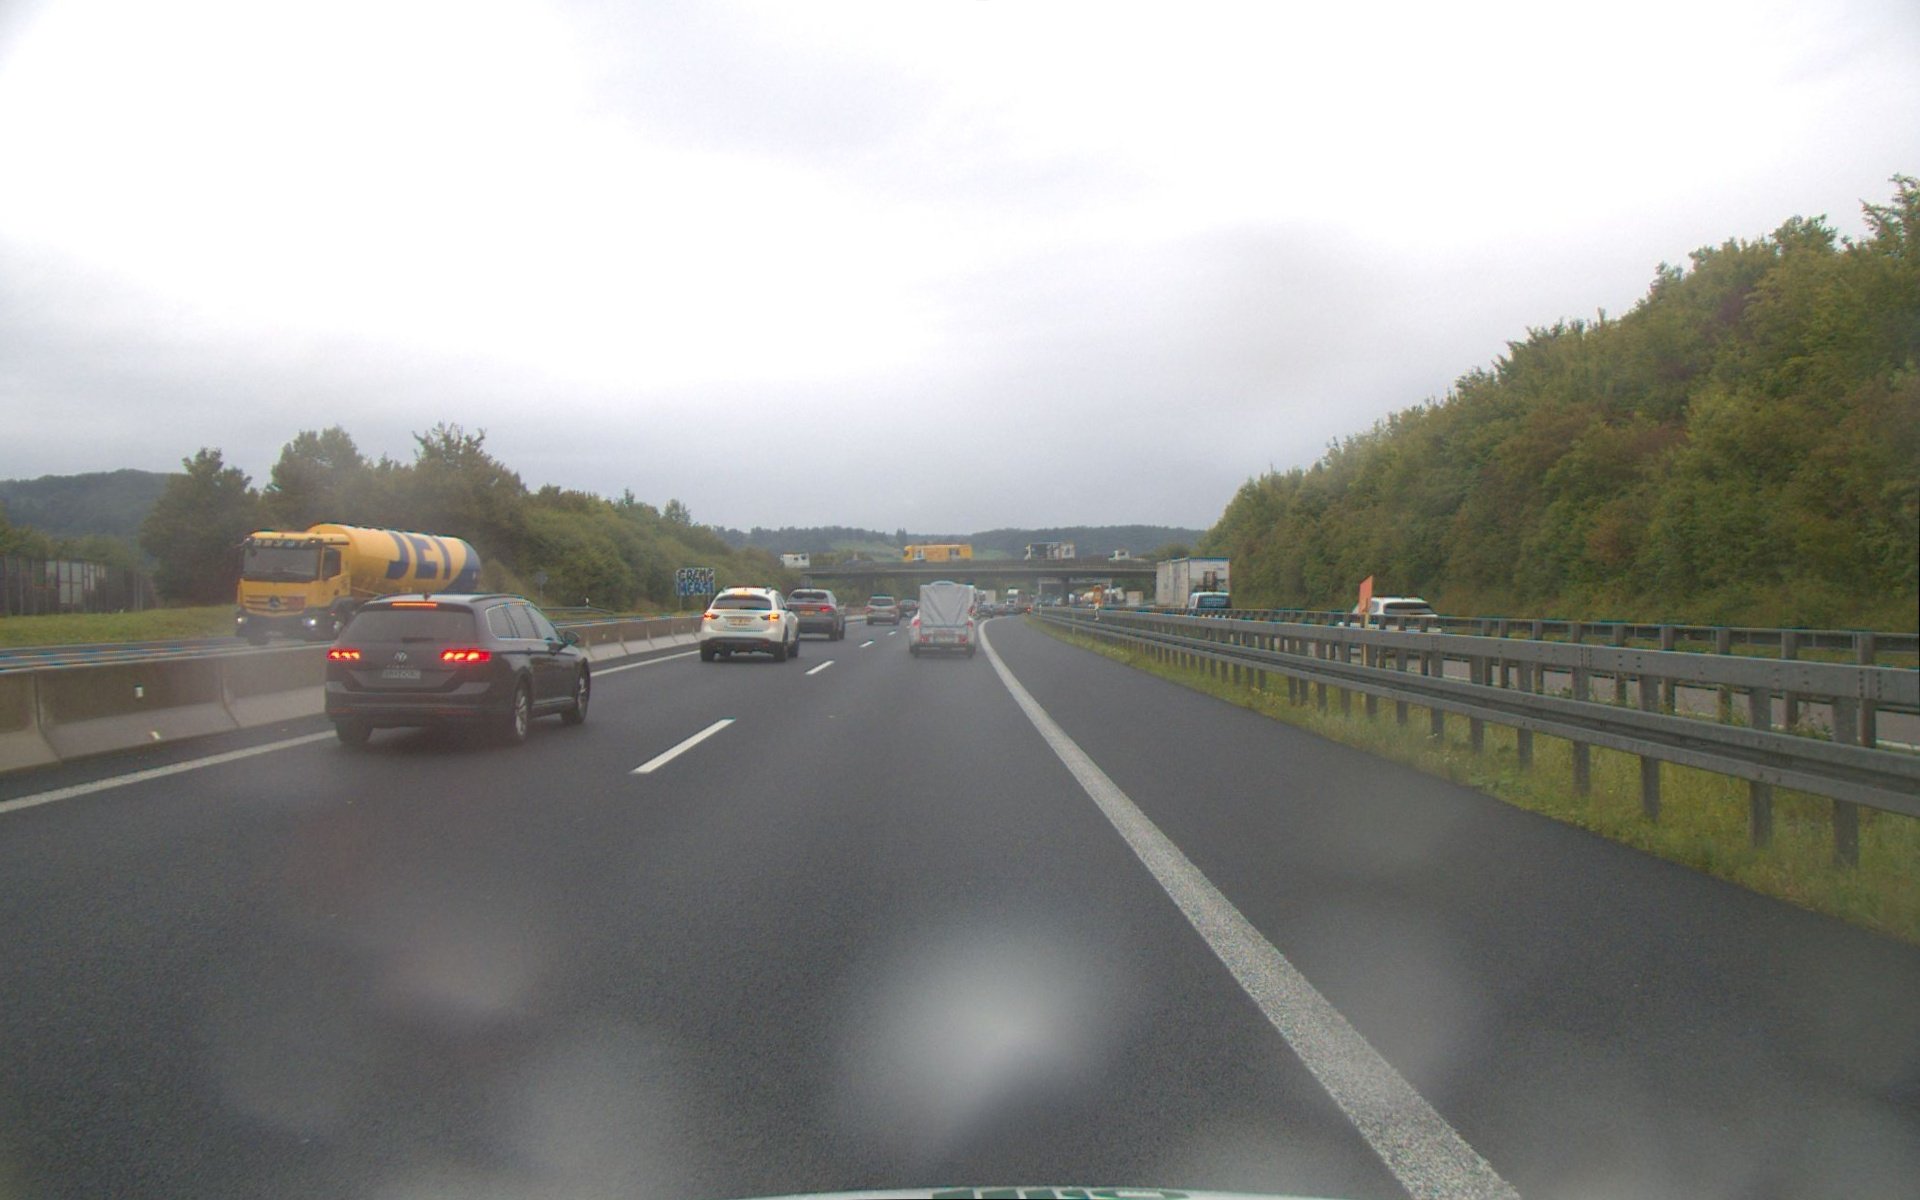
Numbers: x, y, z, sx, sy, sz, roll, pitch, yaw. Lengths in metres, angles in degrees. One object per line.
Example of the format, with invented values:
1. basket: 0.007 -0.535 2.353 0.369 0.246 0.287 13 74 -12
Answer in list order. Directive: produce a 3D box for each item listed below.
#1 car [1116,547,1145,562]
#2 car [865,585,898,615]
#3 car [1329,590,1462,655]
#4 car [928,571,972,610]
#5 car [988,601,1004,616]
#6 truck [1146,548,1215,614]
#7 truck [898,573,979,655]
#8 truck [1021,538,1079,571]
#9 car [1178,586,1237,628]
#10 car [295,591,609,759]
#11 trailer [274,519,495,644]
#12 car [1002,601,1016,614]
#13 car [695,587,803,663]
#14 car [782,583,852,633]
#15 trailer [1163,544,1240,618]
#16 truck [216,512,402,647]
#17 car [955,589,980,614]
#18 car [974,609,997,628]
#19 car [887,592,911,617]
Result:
1. car: 24.560 -6.553 238.424 1.825 1.948 3.944 1 0 -39
2. car: -4.489 -0.019 94.933 1.862 1.641 4.015 0 0 -2
3. car: 11.082 0.533 42.446 1.968 1.575 4.692 0 0 -3
4. car: -0.645 -0.700 115.774 2.954 2.662 6.075 0 0 1
5. car: 4.638 1.084 213.581 1.952 1.780 4.000 1 0 0
6. truck: 15.011 -1.285 113.390 3.367 4.364 10.418 0 0 0
7. truck: -0.477 0.328 44.415 1.977 2.020 7.213 0 0 1
8. truck: 13.841 -6.956 254.800 3.733 4.920 9.926 0 0 -34
9. car: 10.926 0.292 73.308 1.822 1.837 4.646 0 0 -2
10. car: -5.124 0.677 17.437 1.862 1.523 4.850 0 0 -1
11. trailer: -17.821 -0.519 52.305 2.704 3.458 11.448 1 0 1
12. car: 7.192 1.064 241.272 1.952 1.780 4.001 1 0 1
13. car: -4.834 0.537 38.494 1.936 1.668 4.500 0 0 0
14. car: -4.898 0.256 57.358 2.130 1.660 4.499 0 0 -1
15. trailer: 14.948 -1.187 103.055 3.366 4.364 10.455 0 0 1
16. truck: -17.938 -0.526 46.016 2.704 3.458 5.846 1 0 1
17. car: 0.650 0.142 145.431 1.954 2.071 4.149 1 0 -3
18. car: 2.528 1.830 165.435 1.954 1.780 3.997 1 0 -3
19. car: -4.717 0.331 128.198 1.805 1.851 3.998 0 0 -2
